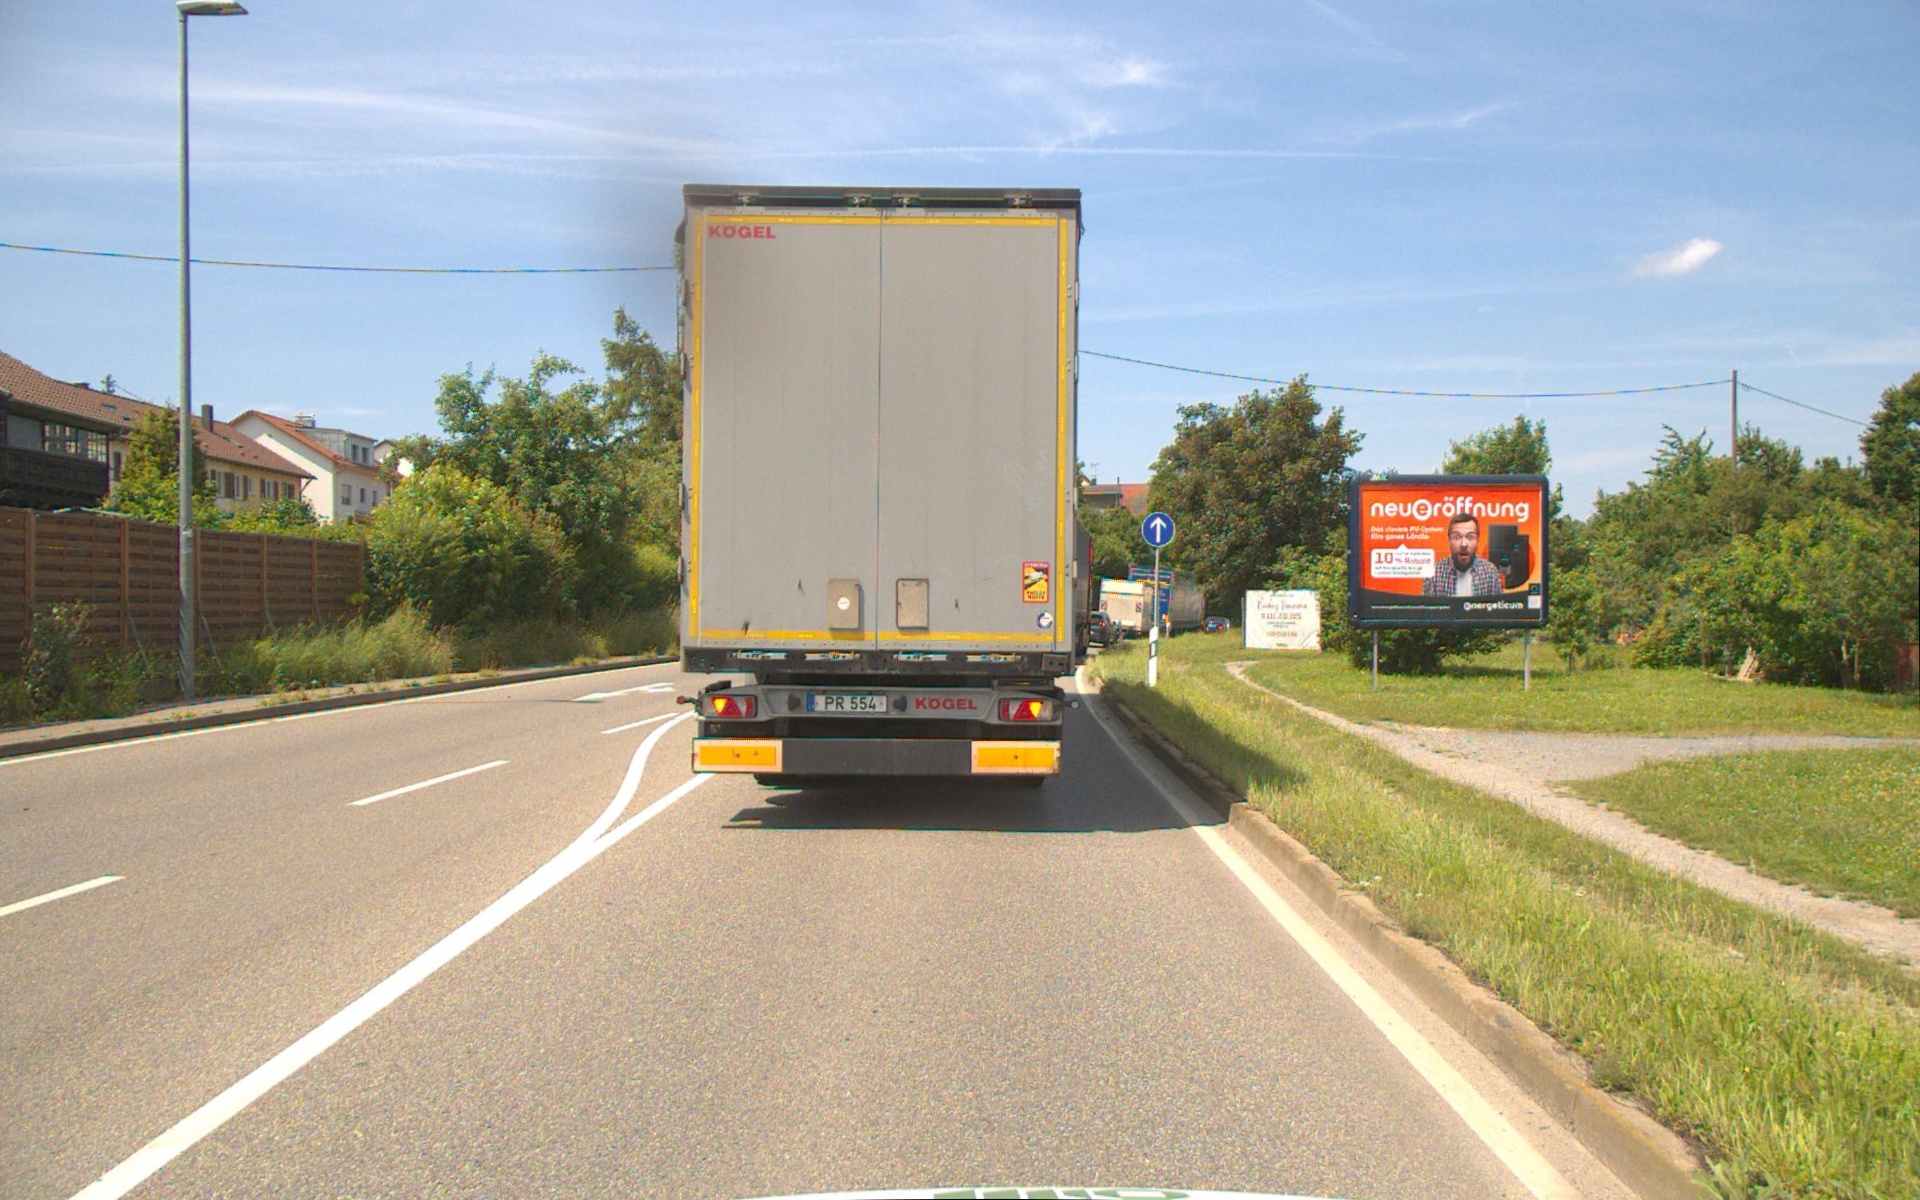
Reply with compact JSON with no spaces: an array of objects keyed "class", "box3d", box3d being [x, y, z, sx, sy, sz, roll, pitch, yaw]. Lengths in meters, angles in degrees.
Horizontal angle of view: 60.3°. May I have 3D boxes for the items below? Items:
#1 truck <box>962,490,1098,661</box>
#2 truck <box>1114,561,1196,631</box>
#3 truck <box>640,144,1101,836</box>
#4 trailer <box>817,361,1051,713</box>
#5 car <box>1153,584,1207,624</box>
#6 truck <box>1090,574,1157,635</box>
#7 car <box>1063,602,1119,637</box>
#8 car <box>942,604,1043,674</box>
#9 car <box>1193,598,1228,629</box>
[{"class":"truck","box3d":[2.469,-0.532,50.628,2.702,4.364,16.426,1,-1,7]},{"class":"truck","box3d":[11.066,-0.263,93.075,3.360,3.667,9.361,1,1,14]},{"class":"truck","box3d":[-0.403,-0.717,15.875,2.764,4.200,11.446,1,0,1]},{"class":"trailer","box3d":[-0.219,-0.773,23.015,2.767,4.183,6.545,1,0,2]},{"class":"car","box3d":[13.565,0.230,101.524,2.478,2.317,6.386,1,0,15]},{"class":"truck","box3d":[8.121,0.276,81.624,2.489,2.852,6.036,1,-1,13]},{"class":"car","box3d":[5.637,0.840,70.988,1.951,1.400,4.003,1,-1,11]},{"class":"car","box3d":[0.757,0.816,35.603,1.780,1.370,3.850,1,-1,7]},{"class":"car","box3d":[17.354,0.931,114.448,1.951,2.049,4.003,1,-1,15]}]
